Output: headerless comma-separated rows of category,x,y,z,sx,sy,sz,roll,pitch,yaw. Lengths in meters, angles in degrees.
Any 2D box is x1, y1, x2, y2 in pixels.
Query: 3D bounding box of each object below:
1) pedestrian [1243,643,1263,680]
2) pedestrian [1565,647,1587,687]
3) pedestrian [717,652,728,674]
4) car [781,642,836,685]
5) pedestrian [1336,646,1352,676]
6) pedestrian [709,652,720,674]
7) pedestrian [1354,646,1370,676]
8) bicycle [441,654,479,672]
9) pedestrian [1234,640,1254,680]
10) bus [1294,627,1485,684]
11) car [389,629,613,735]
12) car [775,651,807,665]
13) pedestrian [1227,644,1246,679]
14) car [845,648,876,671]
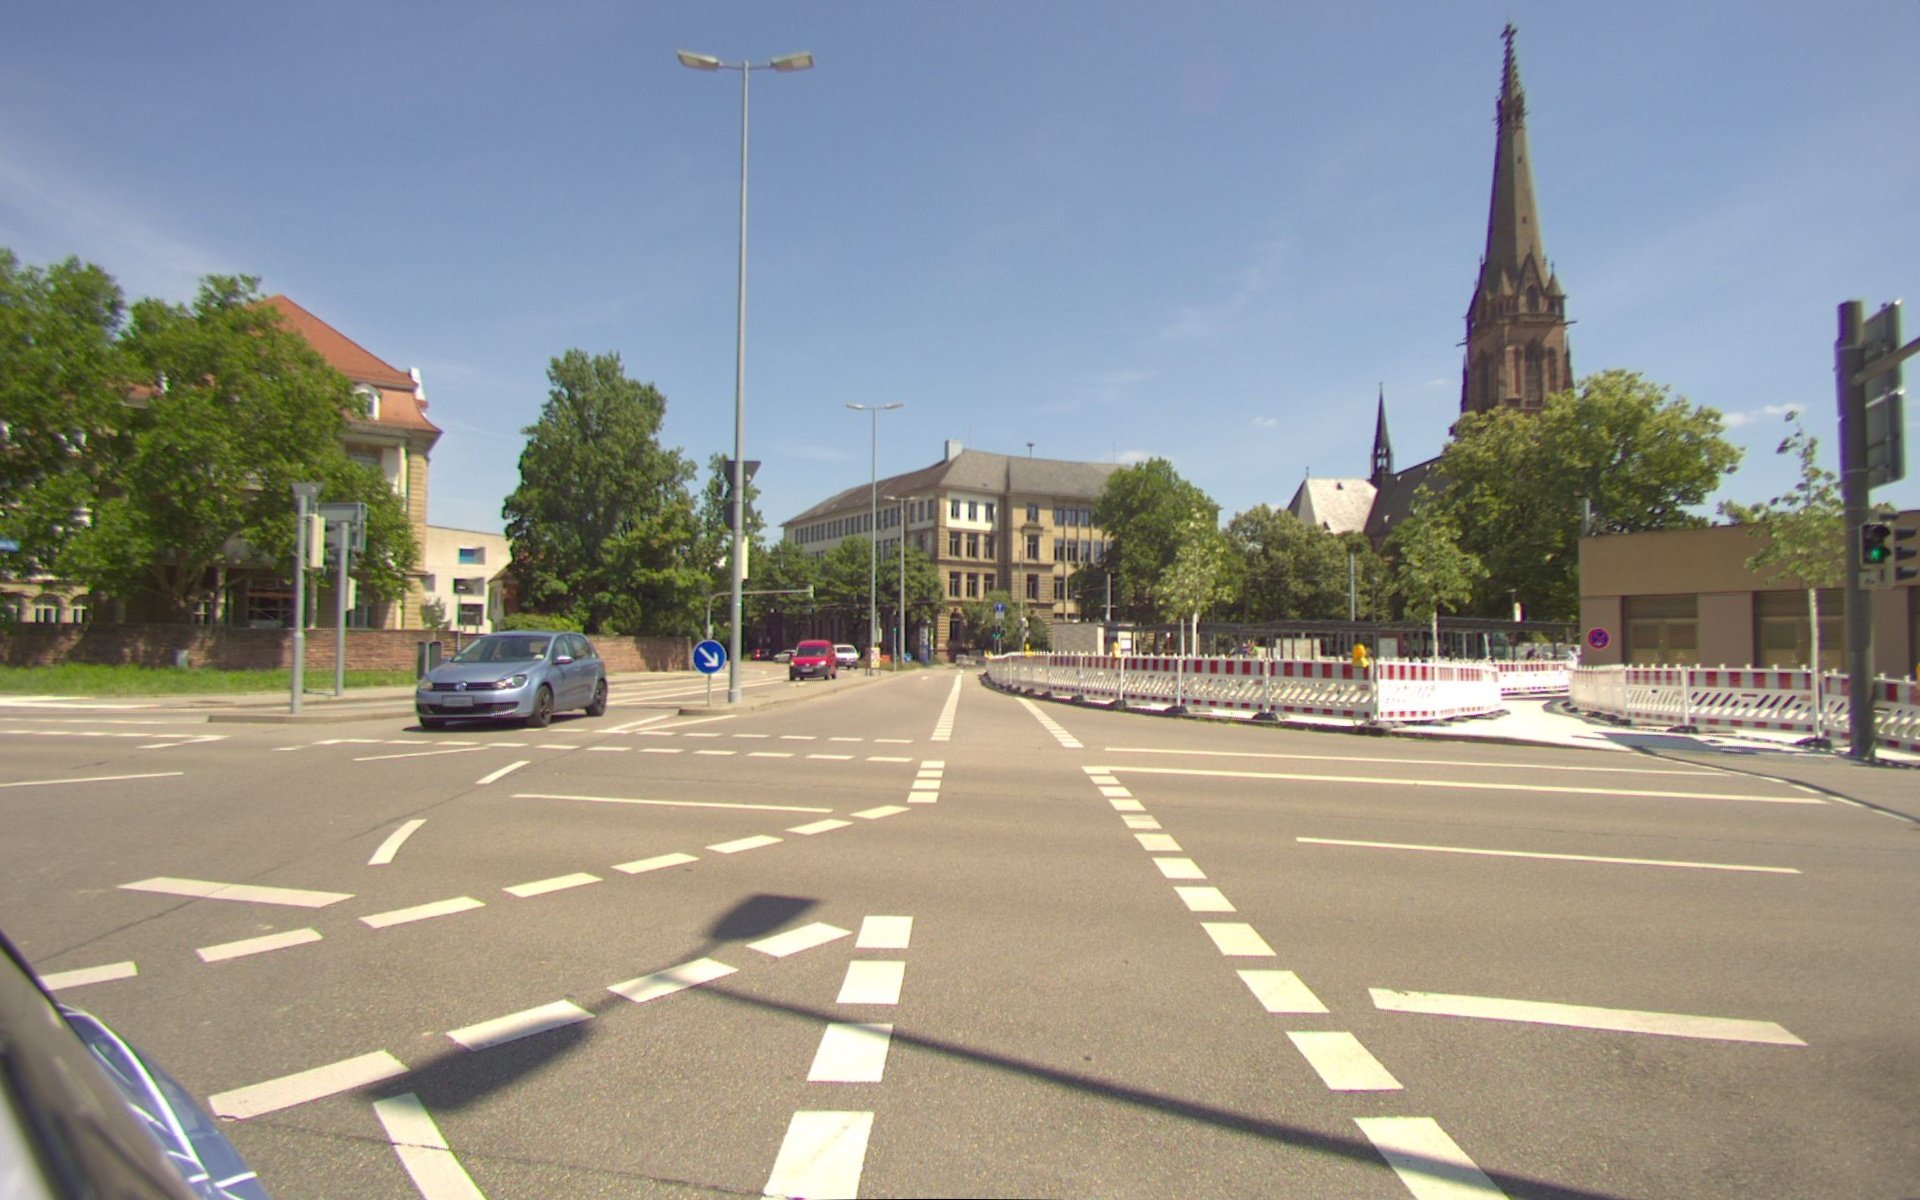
pedestrian,14.710,3.081,50.822,0.635,1.802,0.639,0,-4,-35
pedestrian,29.485,3.218,48.451,0.688,1.872,0.607,1,-4,-39
pedestrian,-18.973,5.041,80.811,0.594,1.726,0.560,5,-6,-32
car,-6.710,2.830,45.307,1.808,1.780,4.278,-2,-3,0
pedestrian,22.007,3.508,57.944,0.617,1.667,0.548,1,-4,-39
pedestrian,-18.512,4.762,76.417,0.594,1.623,0.560,5,-6,-31
pedestrian,22.579,3.427,56.851,0.529,1.632,0.521,1,-4,-39
bicycle,-27.114,3.409,54.903,1.749,0.935,0.680,1,-4,-45
pedestrian,13.950,2.935,49.711,0.681,1.920,0.578,0,-4,-36
bus,25.394,3.412,60.659,2.807,3.077,10.631,0,-4,-33
car,-6.907,1.198,15.721,1.807,1.425,3.996,0,-3,-3
car,-18.782,6.393,112.302,1.791,1.439,4.439,4,-4,-33
pedestrian,14.069,3.129,51.497,0.533,1.769,0.660,1,-4,-44
car,-8.015,4.774,81.788,1.906,1.809,5.030,0,-3,1
